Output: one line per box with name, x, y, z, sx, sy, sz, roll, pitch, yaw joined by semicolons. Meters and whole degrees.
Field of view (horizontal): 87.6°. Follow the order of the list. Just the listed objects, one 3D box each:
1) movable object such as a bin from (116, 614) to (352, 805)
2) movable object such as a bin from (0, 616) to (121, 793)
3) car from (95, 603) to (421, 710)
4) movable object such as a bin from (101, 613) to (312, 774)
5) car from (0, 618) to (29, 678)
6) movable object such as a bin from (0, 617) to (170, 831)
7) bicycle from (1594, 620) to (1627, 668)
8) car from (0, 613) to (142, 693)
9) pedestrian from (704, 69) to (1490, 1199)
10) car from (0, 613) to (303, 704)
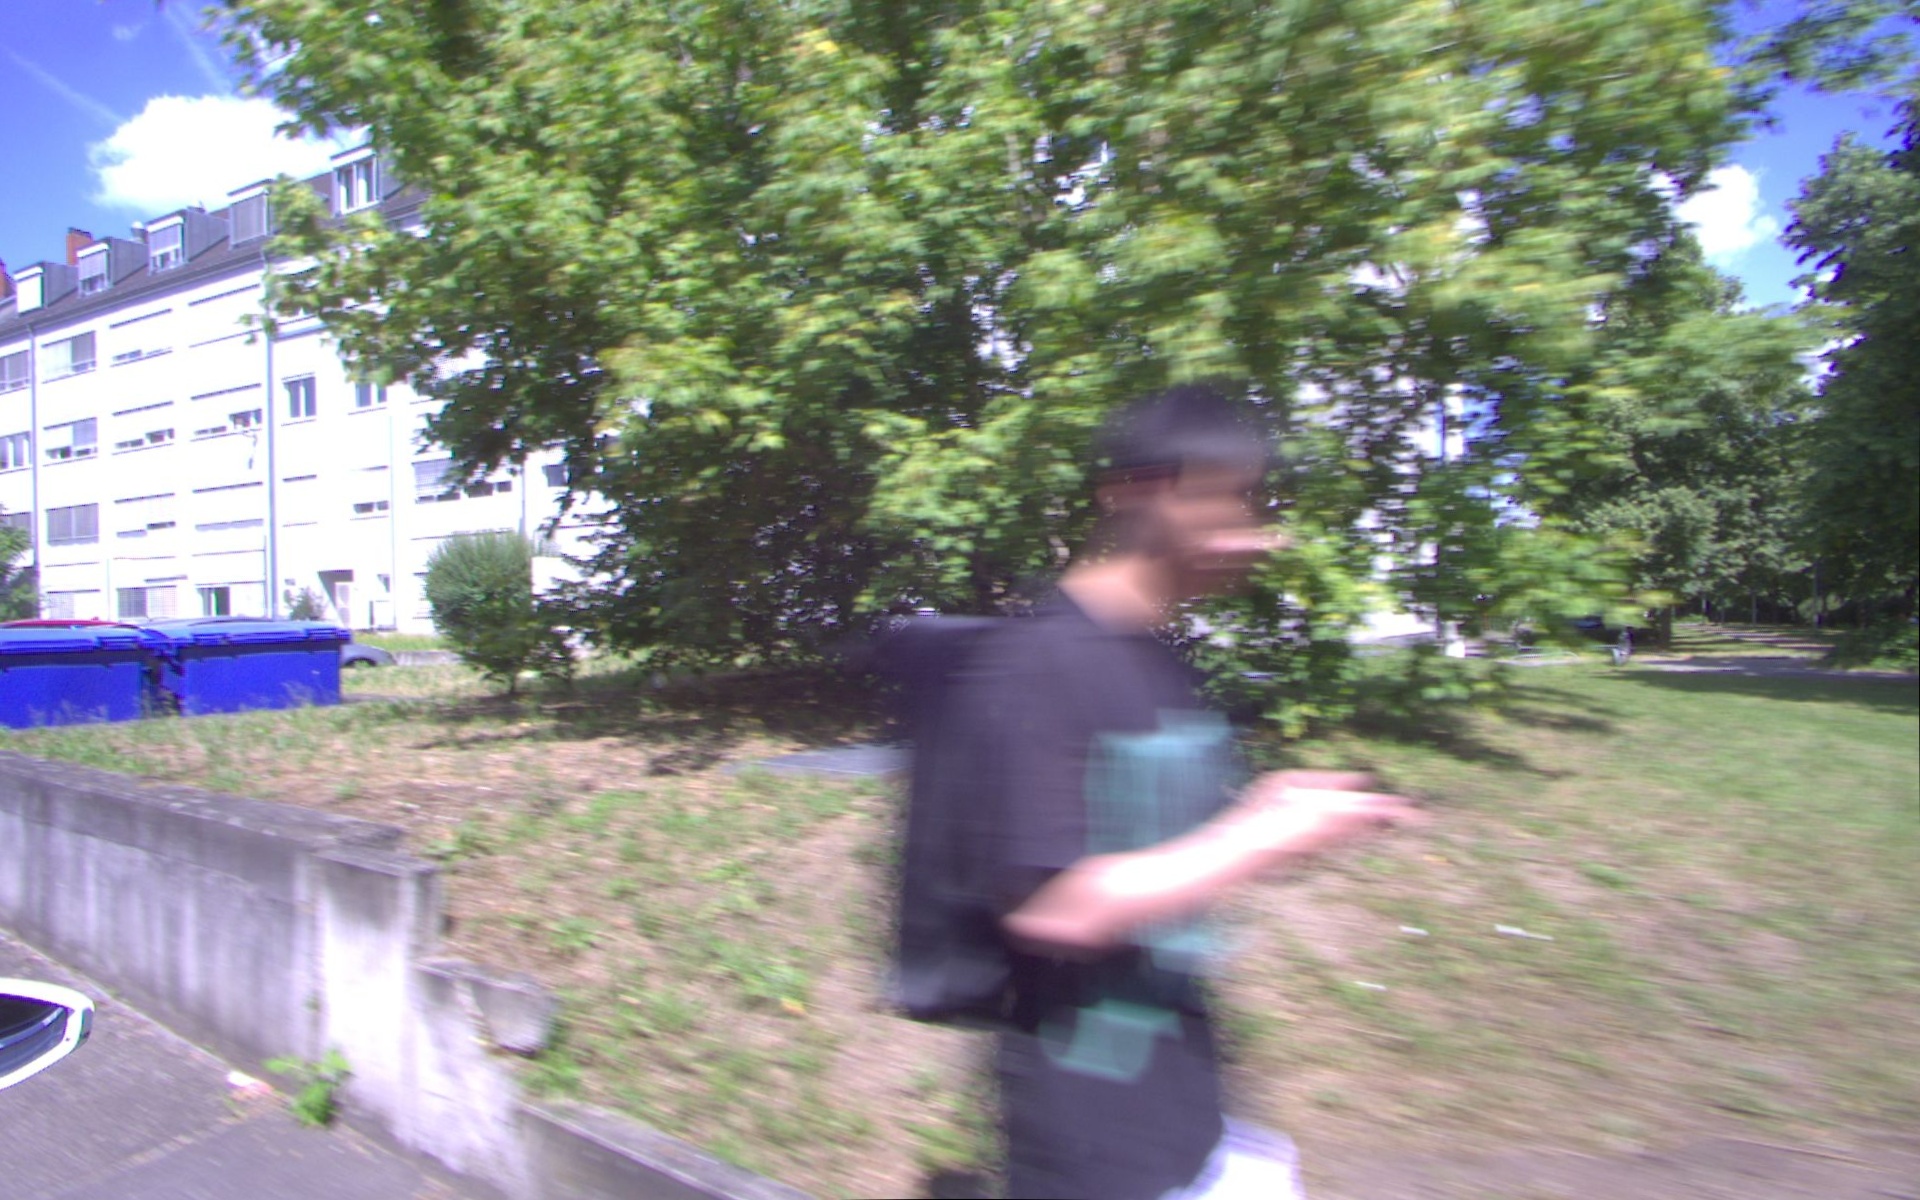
movable object such as a bin;-5.751;0.793;7.962;1.145;1.344;1.212;0;0;35
movable object such as a bin;-7.727;0.805;8.056;1.143;1.344;1.190;0;0;31
car;-11.224;0.812;16.296;1.778;1.498;3.980;0;0;31
movable object such as a bin;-6.948;0.800;9.265;1.143;1.344;1.214;0;0;31
car;-24.385;1.153;23.071;1.778;1.408;3.980;0;0;31
movable object such as a bin;-6.431;0.798;6.861;1.145;1.344;1.335;0;0;35
bicycle;15.828;1.051;24.371;0.592;1.099;1.930;0;0;31
car;-18.820;1.020;19.623;1.778;1.498;3.980;0;0;31
pedestrian;0.215;0.502;1.272;0.741;1.778;0.755;0;0;34
car;-14.331;0.950;17.876;1.778;1.408;3.980;0;0;31
